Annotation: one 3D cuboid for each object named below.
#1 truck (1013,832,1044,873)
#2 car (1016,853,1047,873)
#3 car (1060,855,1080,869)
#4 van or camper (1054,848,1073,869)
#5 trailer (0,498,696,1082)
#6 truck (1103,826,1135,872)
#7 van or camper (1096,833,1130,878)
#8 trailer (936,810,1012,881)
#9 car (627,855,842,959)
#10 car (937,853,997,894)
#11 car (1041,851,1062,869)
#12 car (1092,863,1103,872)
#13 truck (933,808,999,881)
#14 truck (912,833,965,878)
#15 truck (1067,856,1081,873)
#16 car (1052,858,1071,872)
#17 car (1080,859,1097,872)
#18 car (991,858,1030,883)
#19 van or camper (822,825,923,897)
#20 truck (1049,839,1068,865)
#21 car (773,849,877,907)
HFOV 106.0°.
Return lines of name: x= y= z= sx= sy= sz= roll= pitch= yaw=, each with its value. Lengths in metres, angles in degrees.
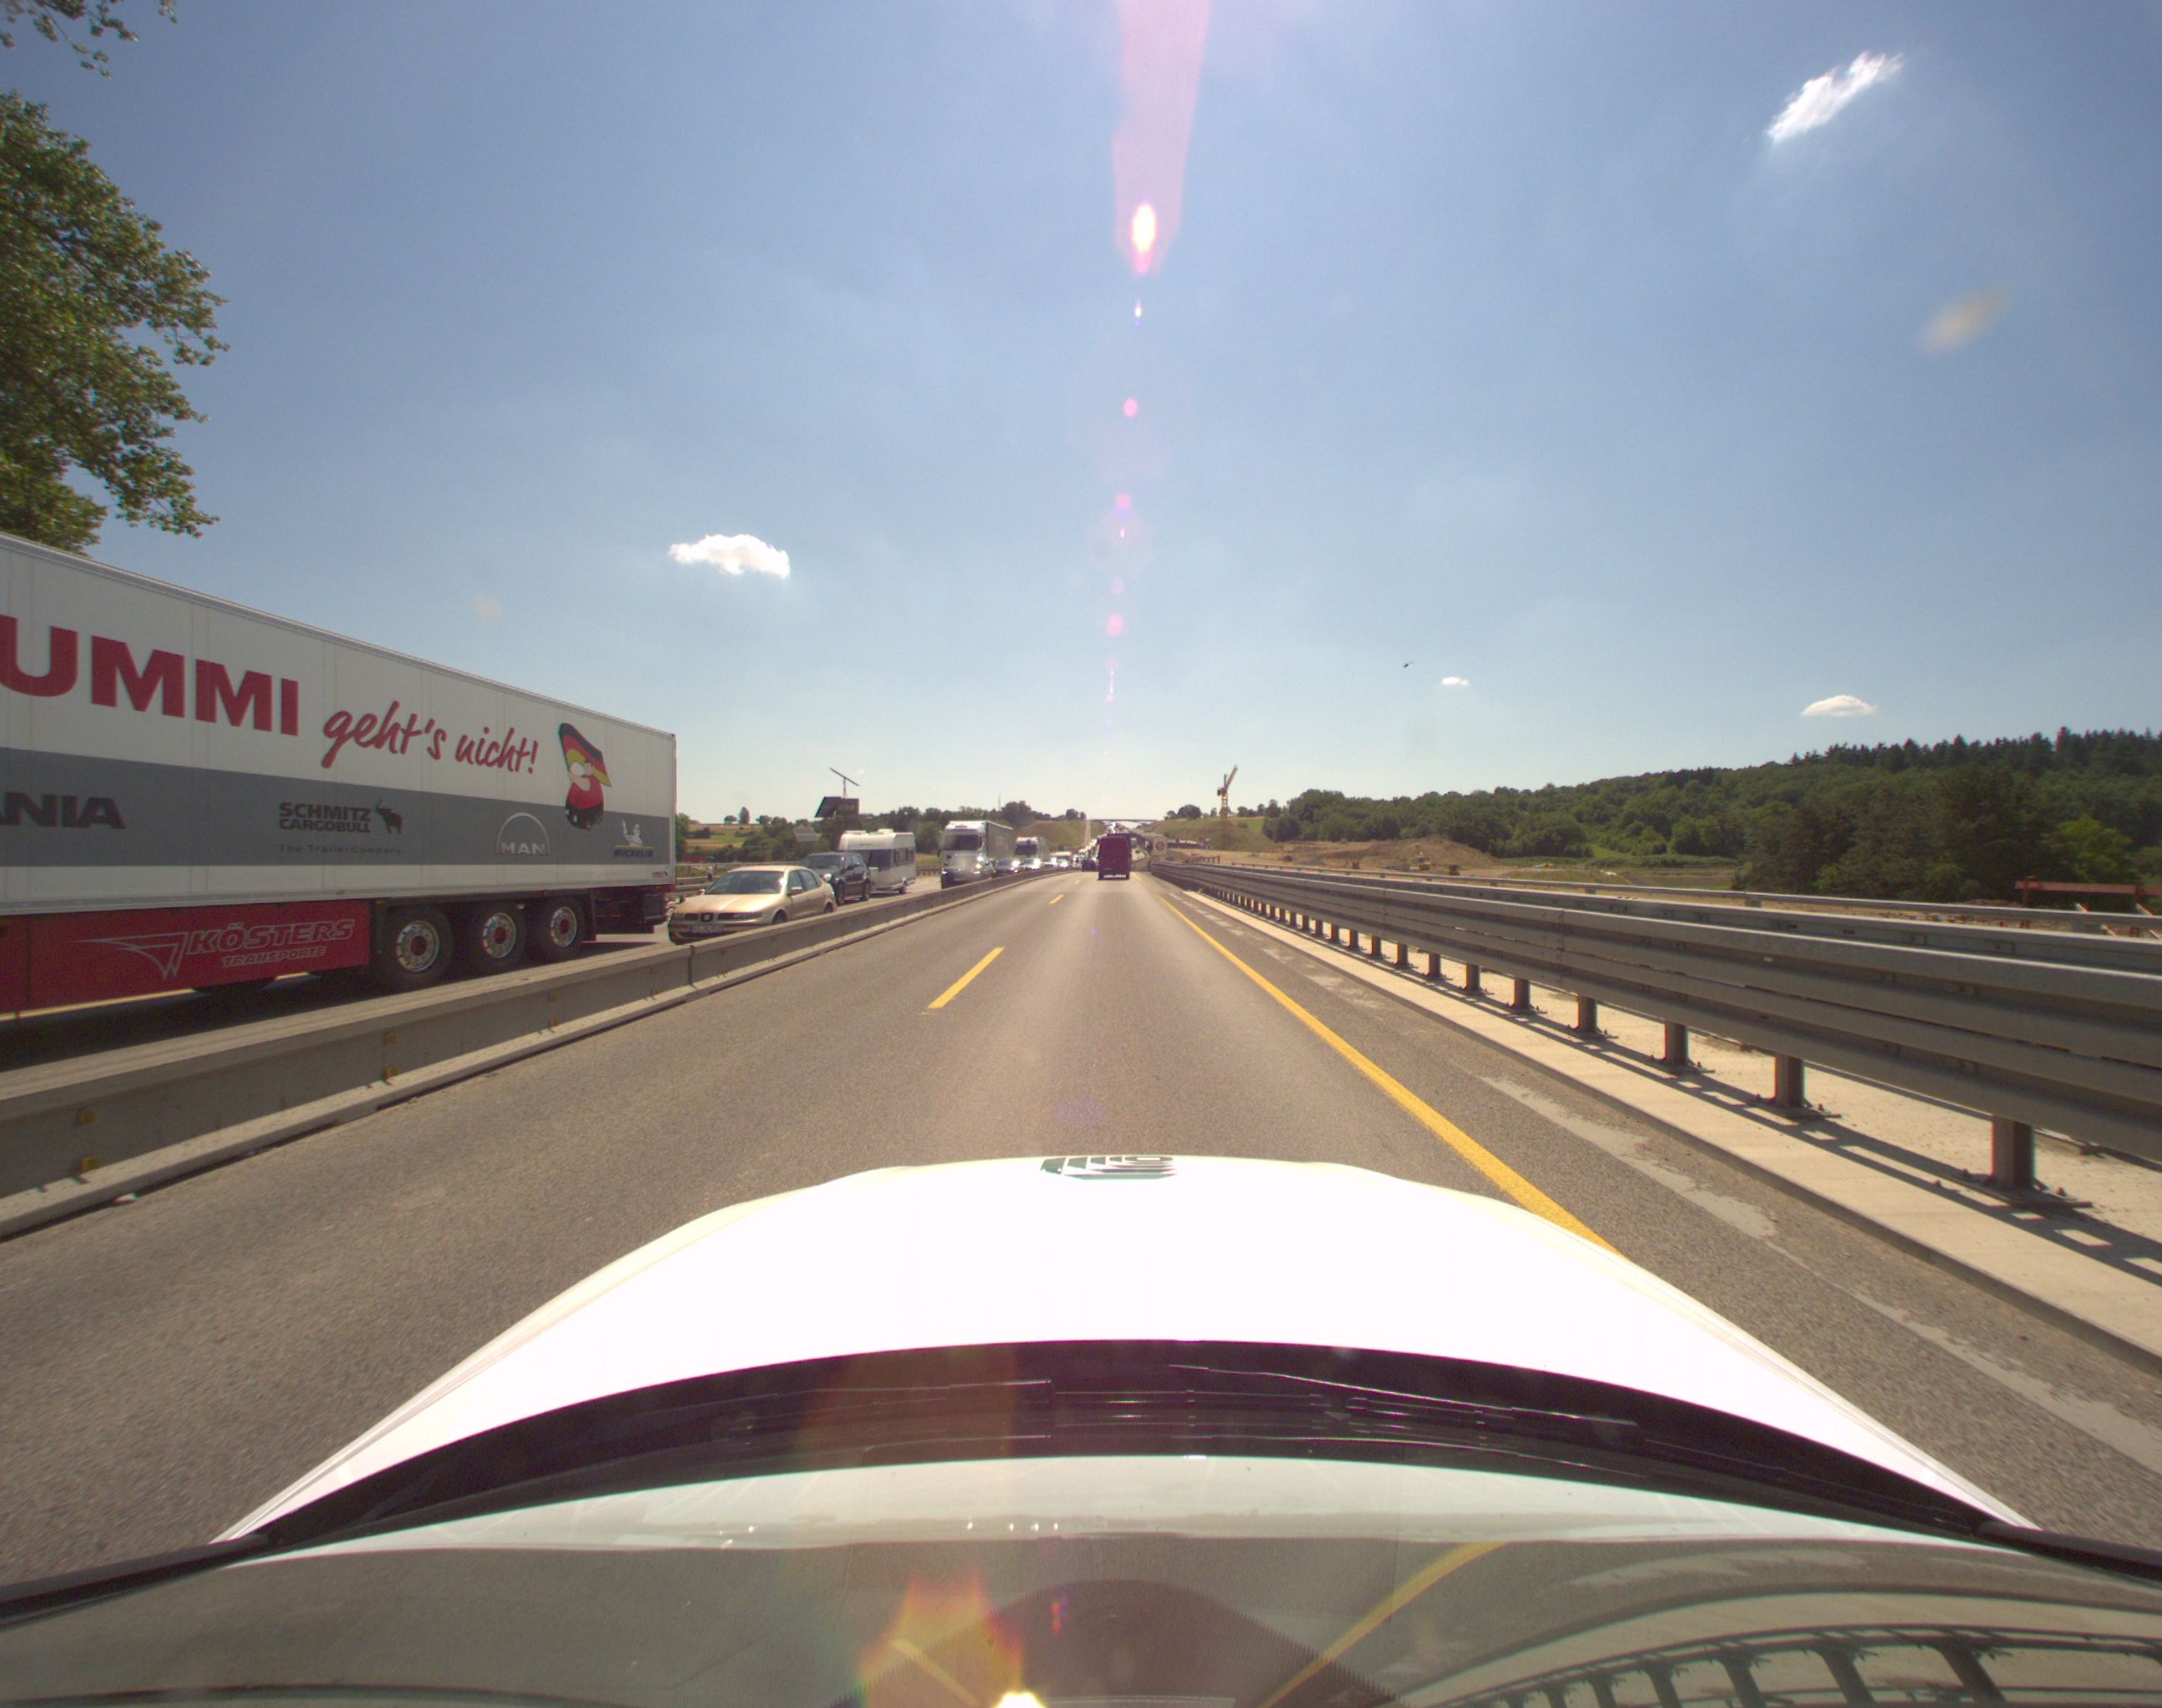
truck: x=-5.801 y=-0.200 z=90.888 sx=2.795 sy=4.392 sz=6.229 roll=-1 pitch=0 yaw=3
car: x=-3.834 y=0.670 z=63.898 sx=1.858 sy=1.459 sz=4.610 roll=1 pitch=0 yaw=3
car: x=-1.510 y=1.112 z=112.046 sx=2.362 sy=1.726 sz=5.784 roll=1 pitch=0 yaw=2
van or camper: x=-2.151 y=0.558 z=99.900 sx=2.212 sy=2.511 sz=6.530 roll=1 pitch=0 yaw=-1
trailer: x=-9.019 y=-0.480 z=9.860 sx=2.796 sy=4.176 sz=11.802 roll=0 pitch=0 yaw=2
truck: x=4.085 y=-0.473 z=88.648 sx=3.011 sy=4.693 sz=6.932 roll=-2 pitch=0 yaw=0
van or camper: x=2.026 y=0.111 z=52.087 sx=2.022 sy=2.744 sz=4.515 roll=0 pitch=0 yaw=0
trailer: x=-7.514 y=-0.548 z=59.237 sx=3.089 sy=4.465 sz=13.028 roll=-1 pitch=0 yaw=3
car: x=-5.926 y=0.814 z=14.588 sx=1.894 sy=1.461 sz=4.195 roll=-3 pitch=0 yaw=1
car: x=-4.976 y=0.809 z=36.038 sx=1.840 sy=1.688 sz=4.620 roll=1 pitch=0 yaw=1
car: x=-2.931 y=0.578 z=81.700 sx=1.750 sy=1.646 sz=4.157 roll=1 pitch=0 yaw=2
car: x=3.029 y=2.500 z=148.027 sx=2.004 sy=1.545 sz=4.133 roll=1 pitch=0 yaw=1
truck: x=-7.626 y=-0.597 z=55.100 sx=3.065 sy=4.537 sz=7.108 roll=-1 pitch=0 yaw=3
truck: x=-12.503 y=0.112 z=72.462 sx=2.893 sy=3.765 sz=8.372 roll=0 pitch=0 yaw=2
truck: x=-1.733 y=2.640 z=201.433 sx=2.971 sy=4.185 sz=5.866 roll=0 pitch=-1 yaw=-3
car: x=-2.167 y=1.239 z=90.581 sx=1.988 sy=1.498 sz=4.971 roll=1 pitch=0 yaw=-2
car: x=0.929 y=1.415 z=100.949 sx=2.005 sy=1.545 sz=4.132 roll=0 pitch=0 yaw=1
car: x=-4.354 y=0.983 z=50.864 sx=1.770 sy=1.420 sz=4.541 roll=1 pitch=0 yaw=3
van or camper: x=-8.367 y=0.274 z=33.294 sx=2.493 sy=2.698 sz=5.247 roll=-1 pitch=0 yaw=3
truck: x=-3.820 y=-0.349 z=140.827 sx=2.792 sy=4.152 sz=10.081 roll=1 pitch=0 yaw=1
car: x=-8.338 y=0.730 z=27.003 sx=1.761 sy=1.734 sz=4.793 roll=-1 pitch=0 yaw=2
